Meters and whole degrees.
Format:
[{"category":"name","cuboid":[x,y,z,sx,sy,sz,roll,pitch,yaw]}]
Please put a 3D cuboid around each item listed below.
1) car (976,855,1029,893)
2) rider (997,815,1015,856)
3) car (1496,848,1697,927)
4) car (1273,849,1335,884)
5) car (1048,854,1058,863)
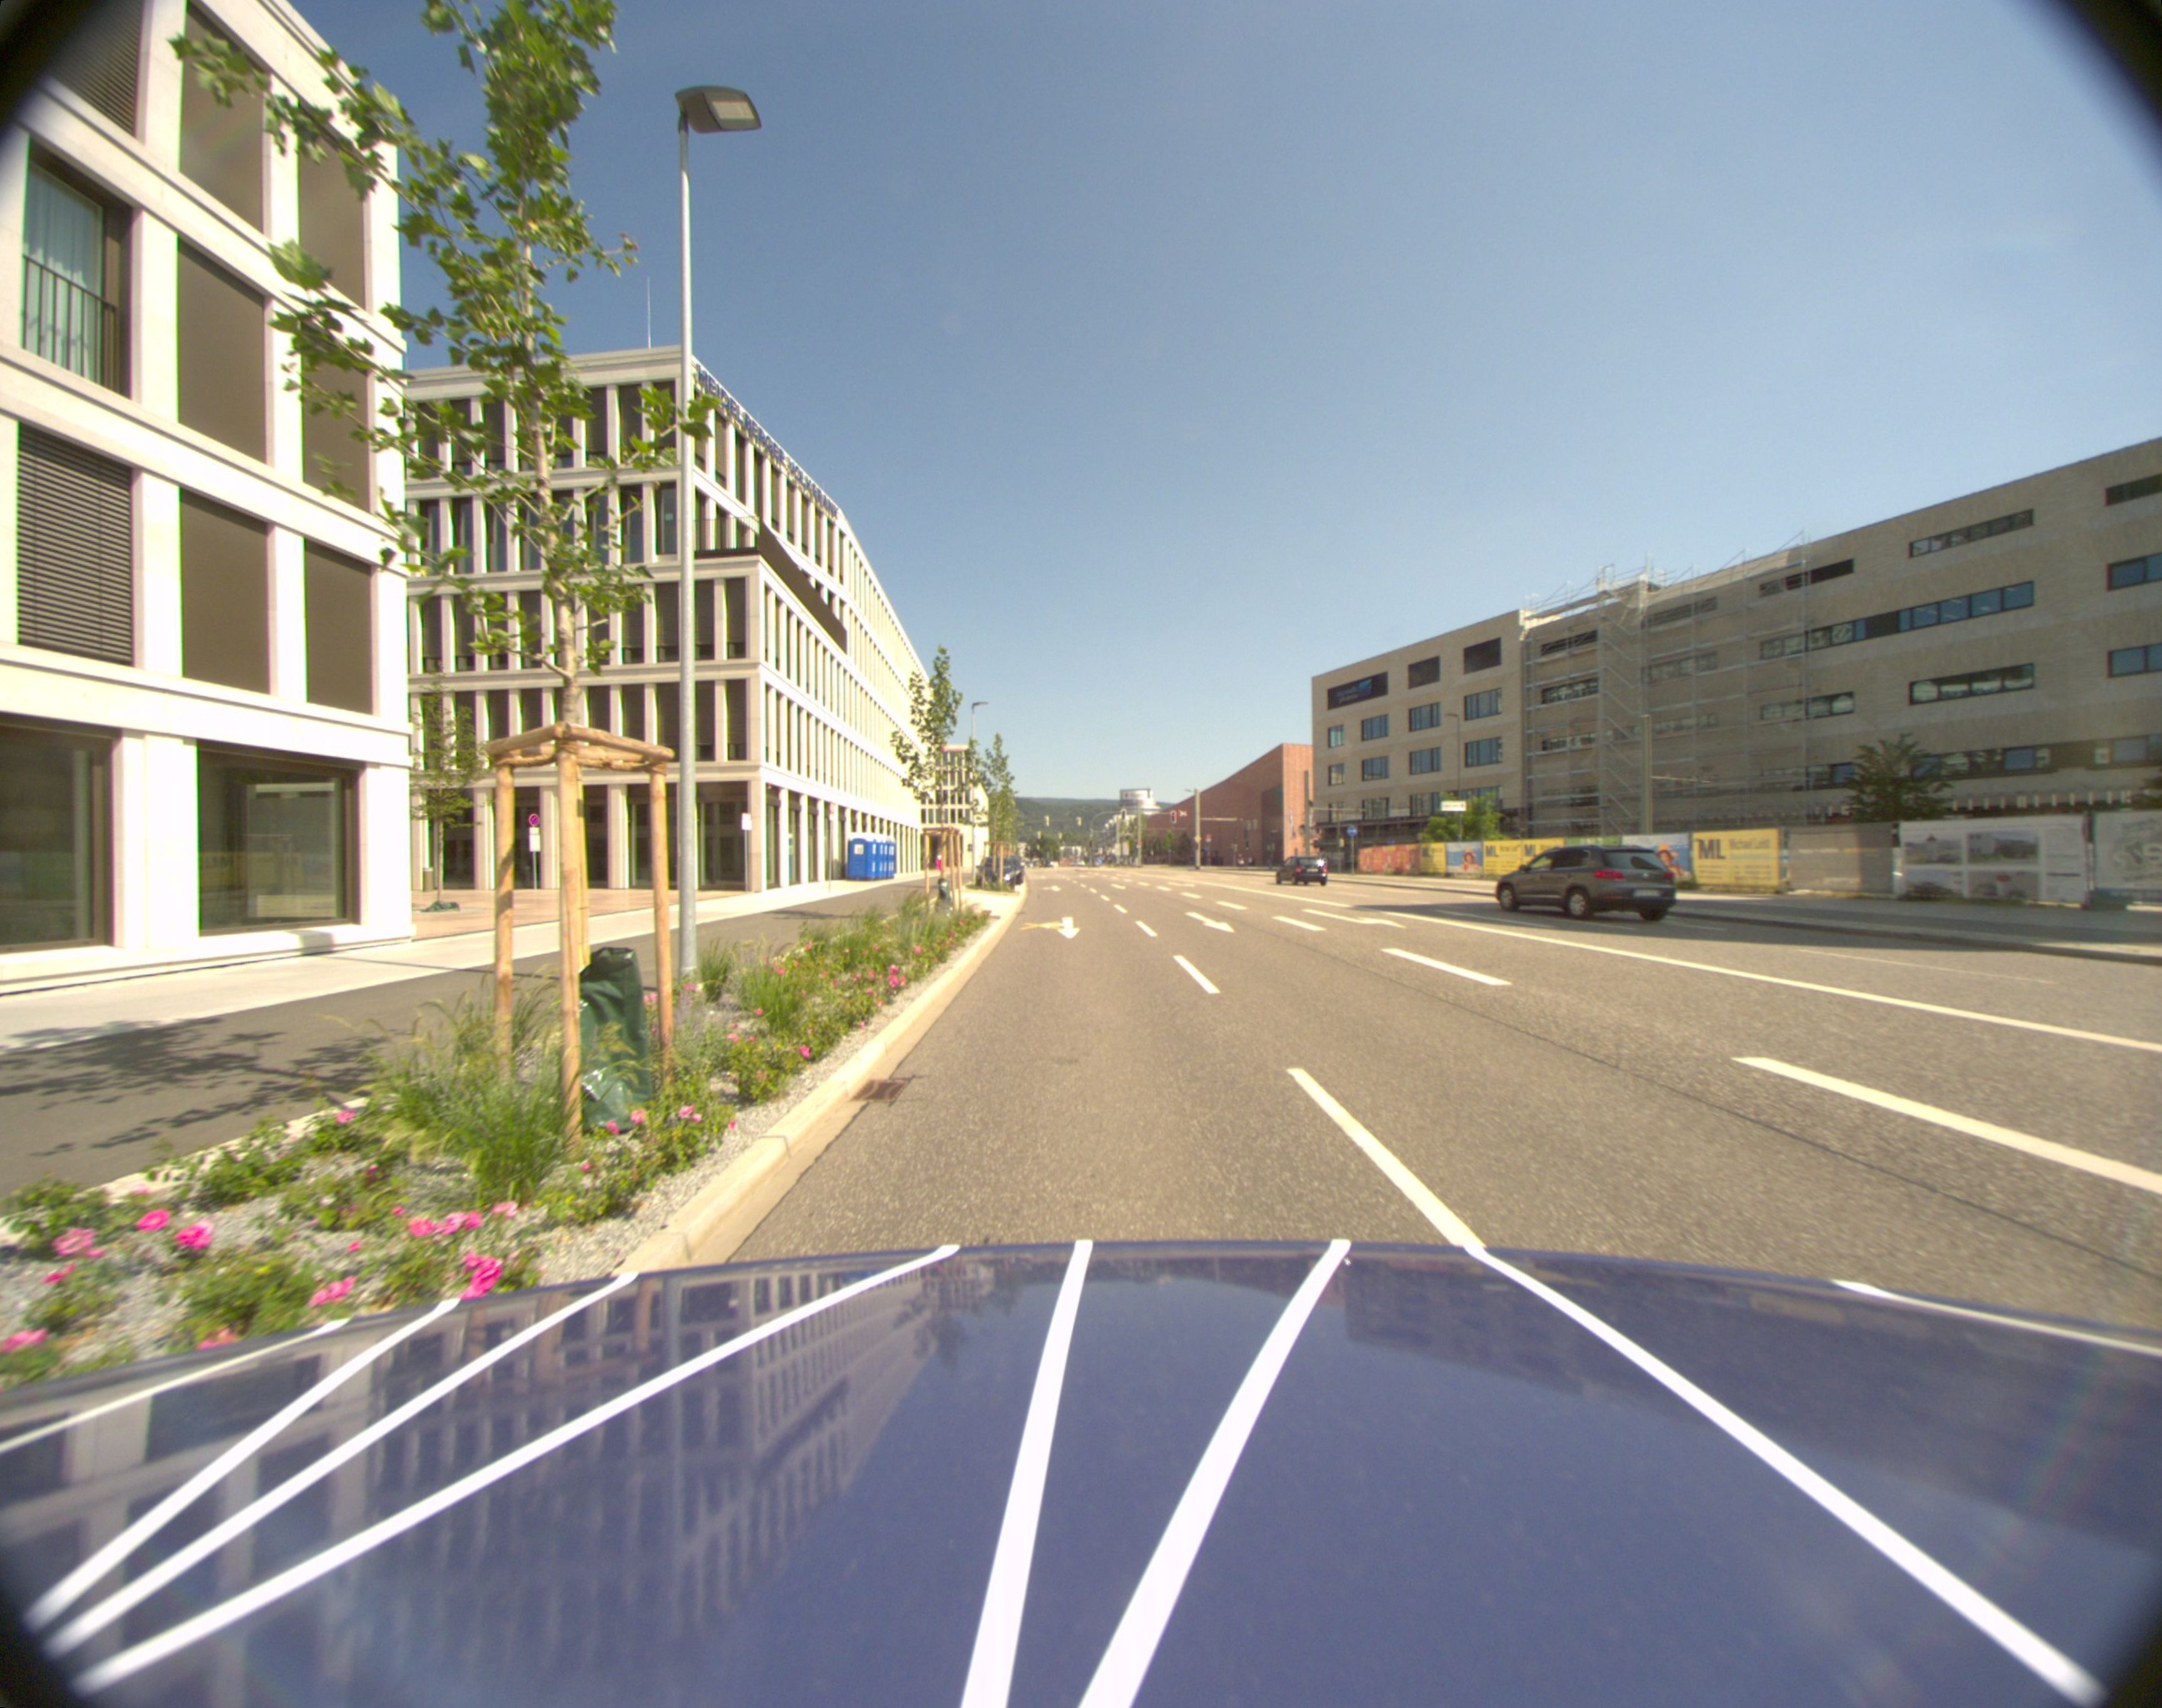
[{"category":"car","cuboid":[-3.375,0.830,33.256,1.810,1.499,4.000,-1,0,1]},{"category":"rider","cuboid":[-4.507,-1.098,46.030,0.872,2.411,1.722,3,1,-2]},{"category":"car","cuboid":[11.471,0.671,17.291,1.802,1.581,3.970,1,0,-1]},{"category":"car","cuboid":[11.003,0.586,37.791,1.934,1.603,4.000,-1,0,1]},{"category":"car","cuboid":[-4.868,0.728,133.148,1.783,1.552,3.831,-1,0,-2]}]
